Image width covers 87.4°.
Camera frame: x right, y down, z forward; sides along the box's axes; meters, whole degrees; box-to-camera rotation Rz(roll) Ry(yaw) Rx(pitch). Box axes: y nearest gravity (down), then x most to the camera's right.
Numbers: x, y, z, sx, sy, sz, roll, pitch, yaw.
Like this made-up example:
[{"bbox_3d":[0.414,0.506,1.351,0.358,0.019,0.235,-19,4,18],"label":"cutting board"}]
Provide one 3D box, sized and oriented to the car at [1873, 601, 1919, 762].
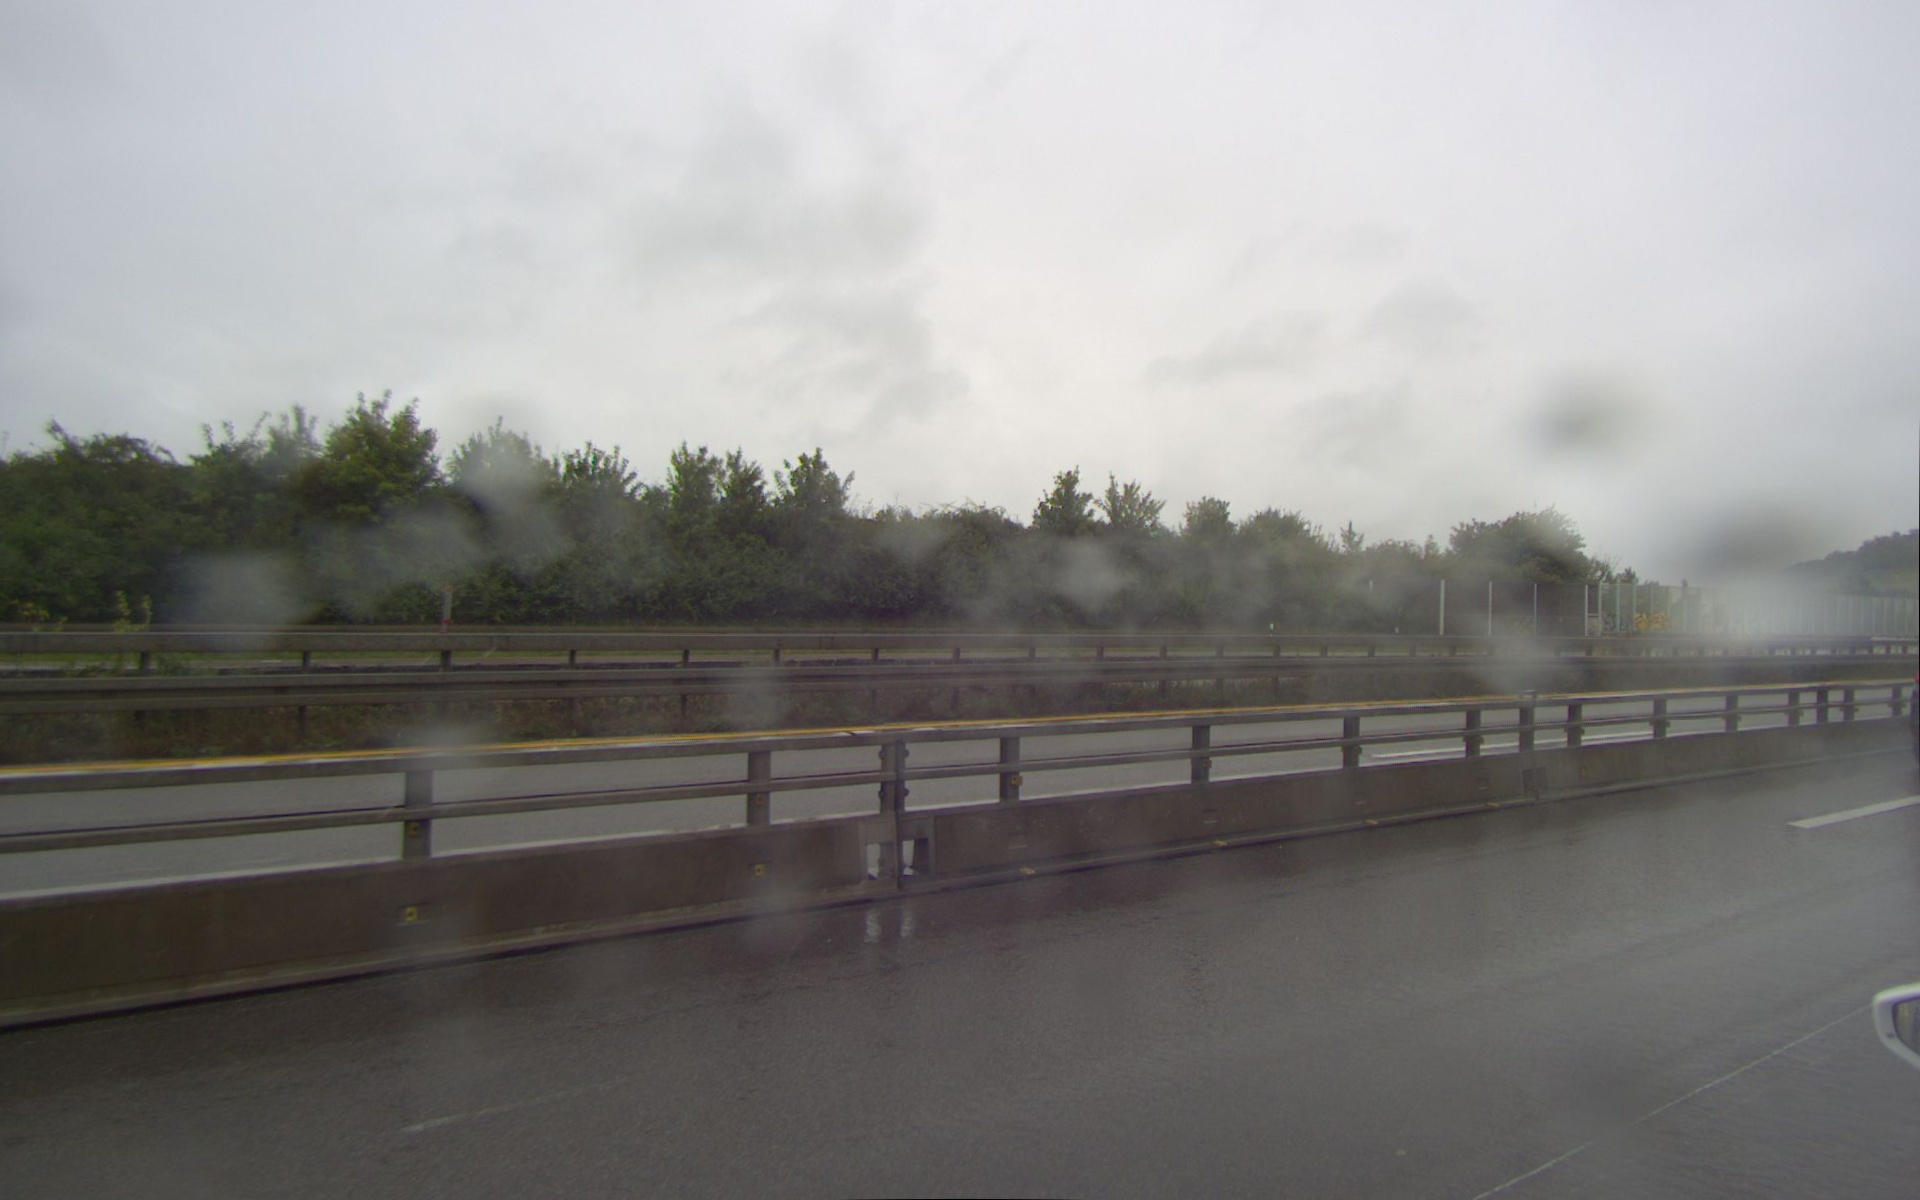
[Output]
[{"bbox_3d":[11.760,0.890,10.645,4.365,1.606,1.982,2,0,-32],"label":"car"}]
